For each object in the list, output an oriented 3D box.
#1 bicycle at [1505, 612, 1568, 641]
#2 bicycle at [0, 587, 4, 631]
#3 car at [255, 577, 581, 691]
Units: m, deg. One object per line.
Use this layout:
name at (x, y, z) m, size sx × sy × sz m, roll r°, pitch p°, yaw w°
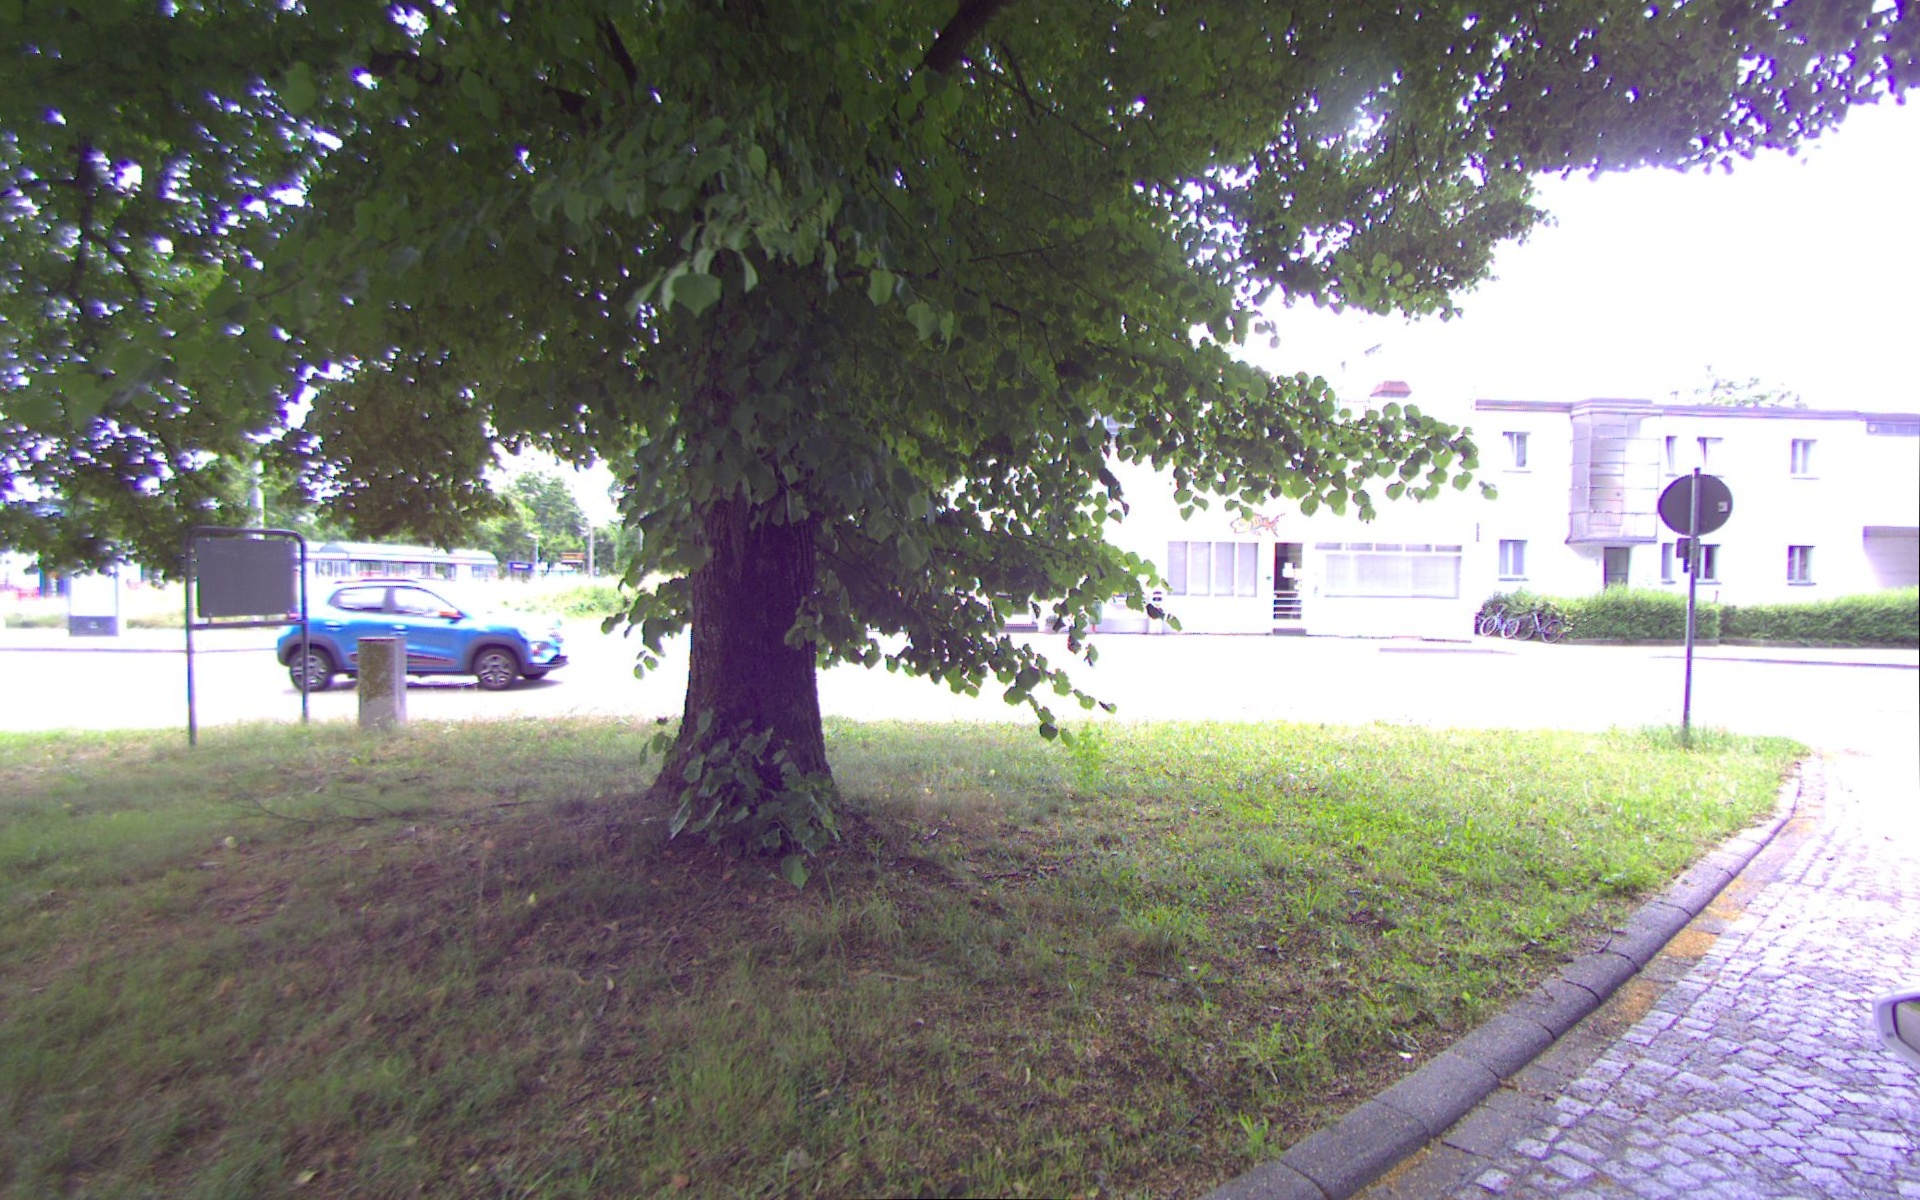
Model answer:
bicycle at (16.331, 0.740, 28.500) m, size 0.405 × 0.768 × 1.666 m, roll 0°, pitch 1°, yaw -21°
bicycle at (-26.153, 0.267, 26.172) m, size 1.641 × 1.148 × 0.695 m, roll -2°, pitch 3°, yaw -31°
car at (-7.401, 0.425, 14.009) m, size 3.632 × 1.484 × 1.604 m, roll 0°, pitch 1°, yaw -5°
